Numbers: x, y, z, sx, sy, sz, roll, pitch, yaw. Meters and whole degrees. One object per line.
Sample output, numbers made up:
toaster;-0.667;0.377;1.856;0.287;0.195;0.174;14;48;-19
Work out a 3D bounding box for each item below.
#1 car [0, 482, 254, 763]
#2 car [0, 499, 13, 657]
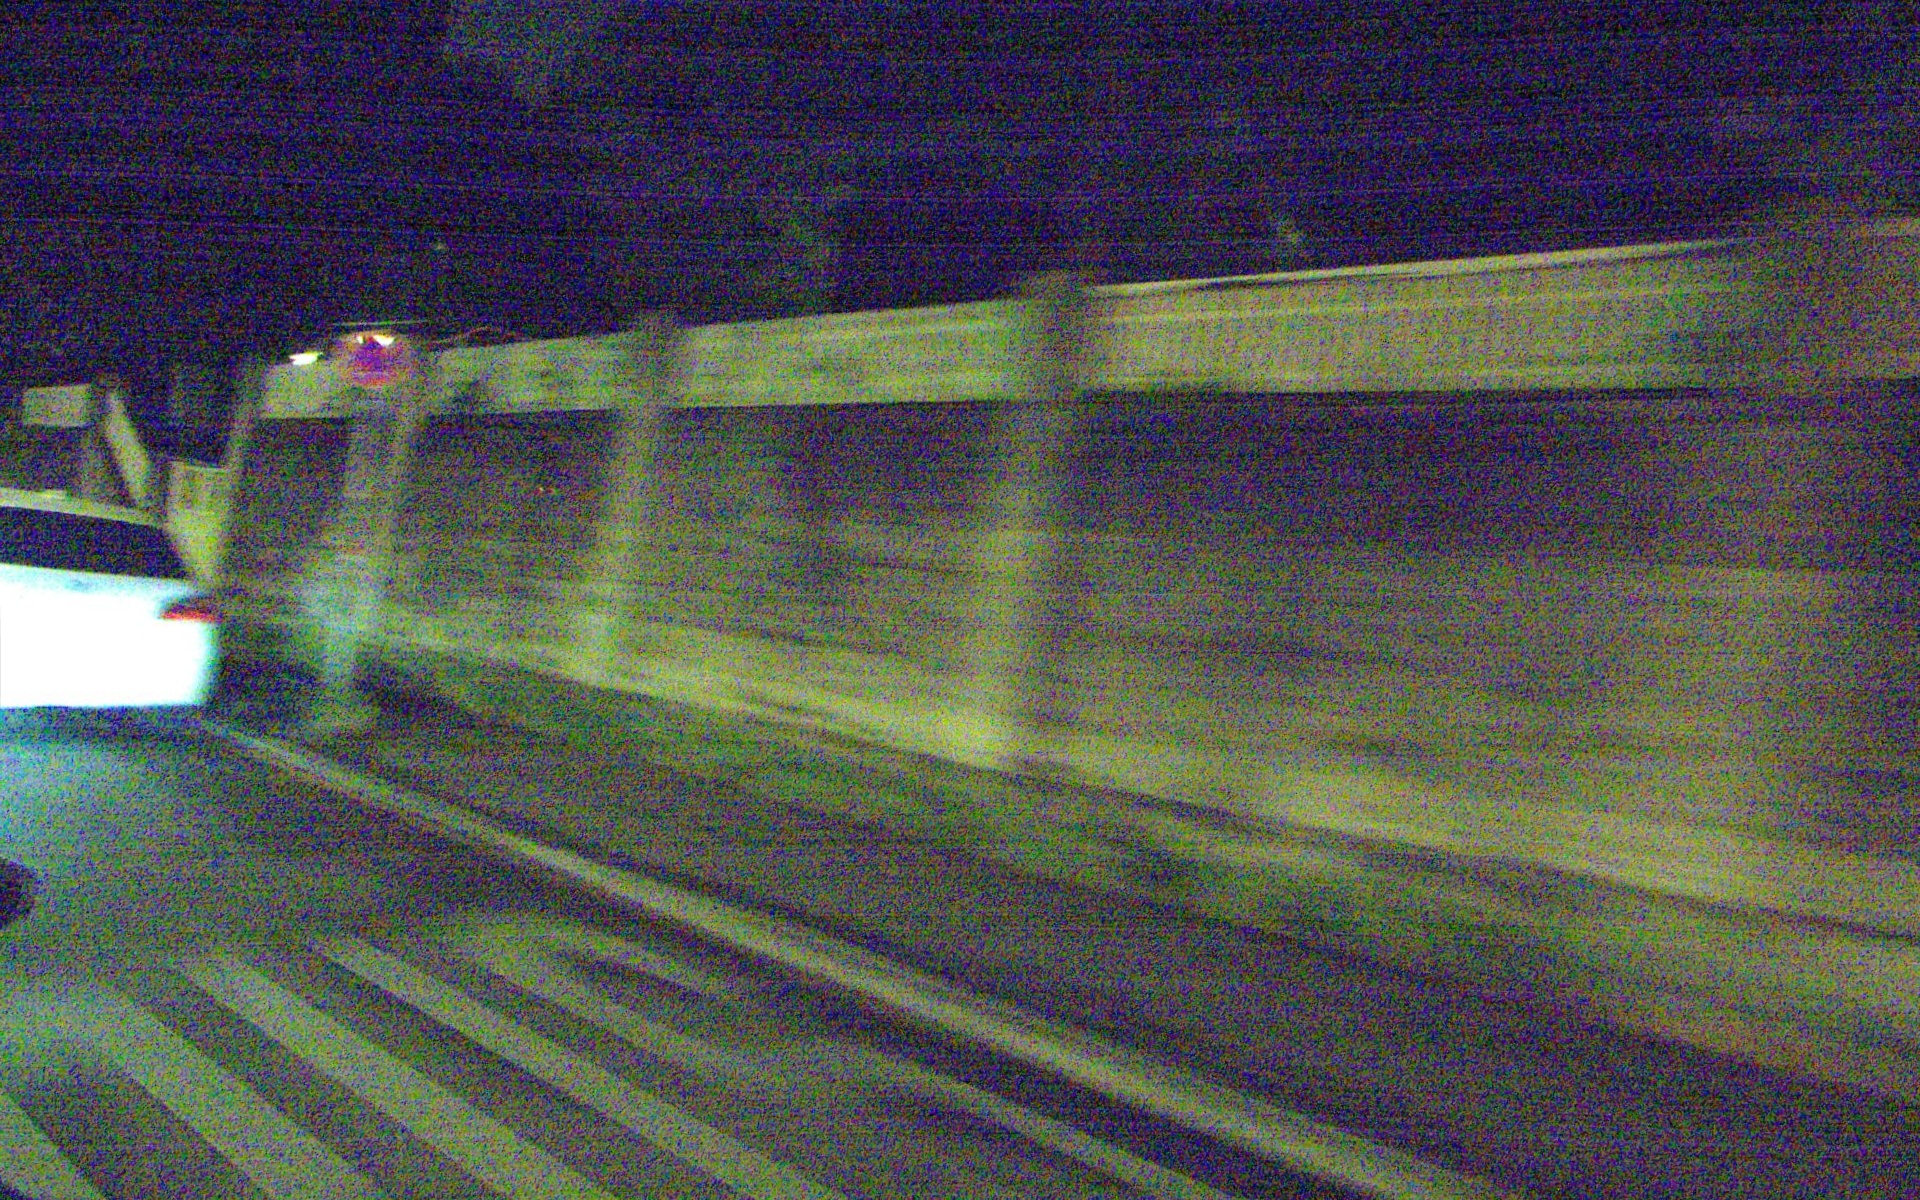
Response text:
car;-7.285;-0.044;7.340;4.651;1.612;1.758;7;-2;33
car;-10.963;-0.452;9.787;3.655;1.480;1.610;8;2;32
